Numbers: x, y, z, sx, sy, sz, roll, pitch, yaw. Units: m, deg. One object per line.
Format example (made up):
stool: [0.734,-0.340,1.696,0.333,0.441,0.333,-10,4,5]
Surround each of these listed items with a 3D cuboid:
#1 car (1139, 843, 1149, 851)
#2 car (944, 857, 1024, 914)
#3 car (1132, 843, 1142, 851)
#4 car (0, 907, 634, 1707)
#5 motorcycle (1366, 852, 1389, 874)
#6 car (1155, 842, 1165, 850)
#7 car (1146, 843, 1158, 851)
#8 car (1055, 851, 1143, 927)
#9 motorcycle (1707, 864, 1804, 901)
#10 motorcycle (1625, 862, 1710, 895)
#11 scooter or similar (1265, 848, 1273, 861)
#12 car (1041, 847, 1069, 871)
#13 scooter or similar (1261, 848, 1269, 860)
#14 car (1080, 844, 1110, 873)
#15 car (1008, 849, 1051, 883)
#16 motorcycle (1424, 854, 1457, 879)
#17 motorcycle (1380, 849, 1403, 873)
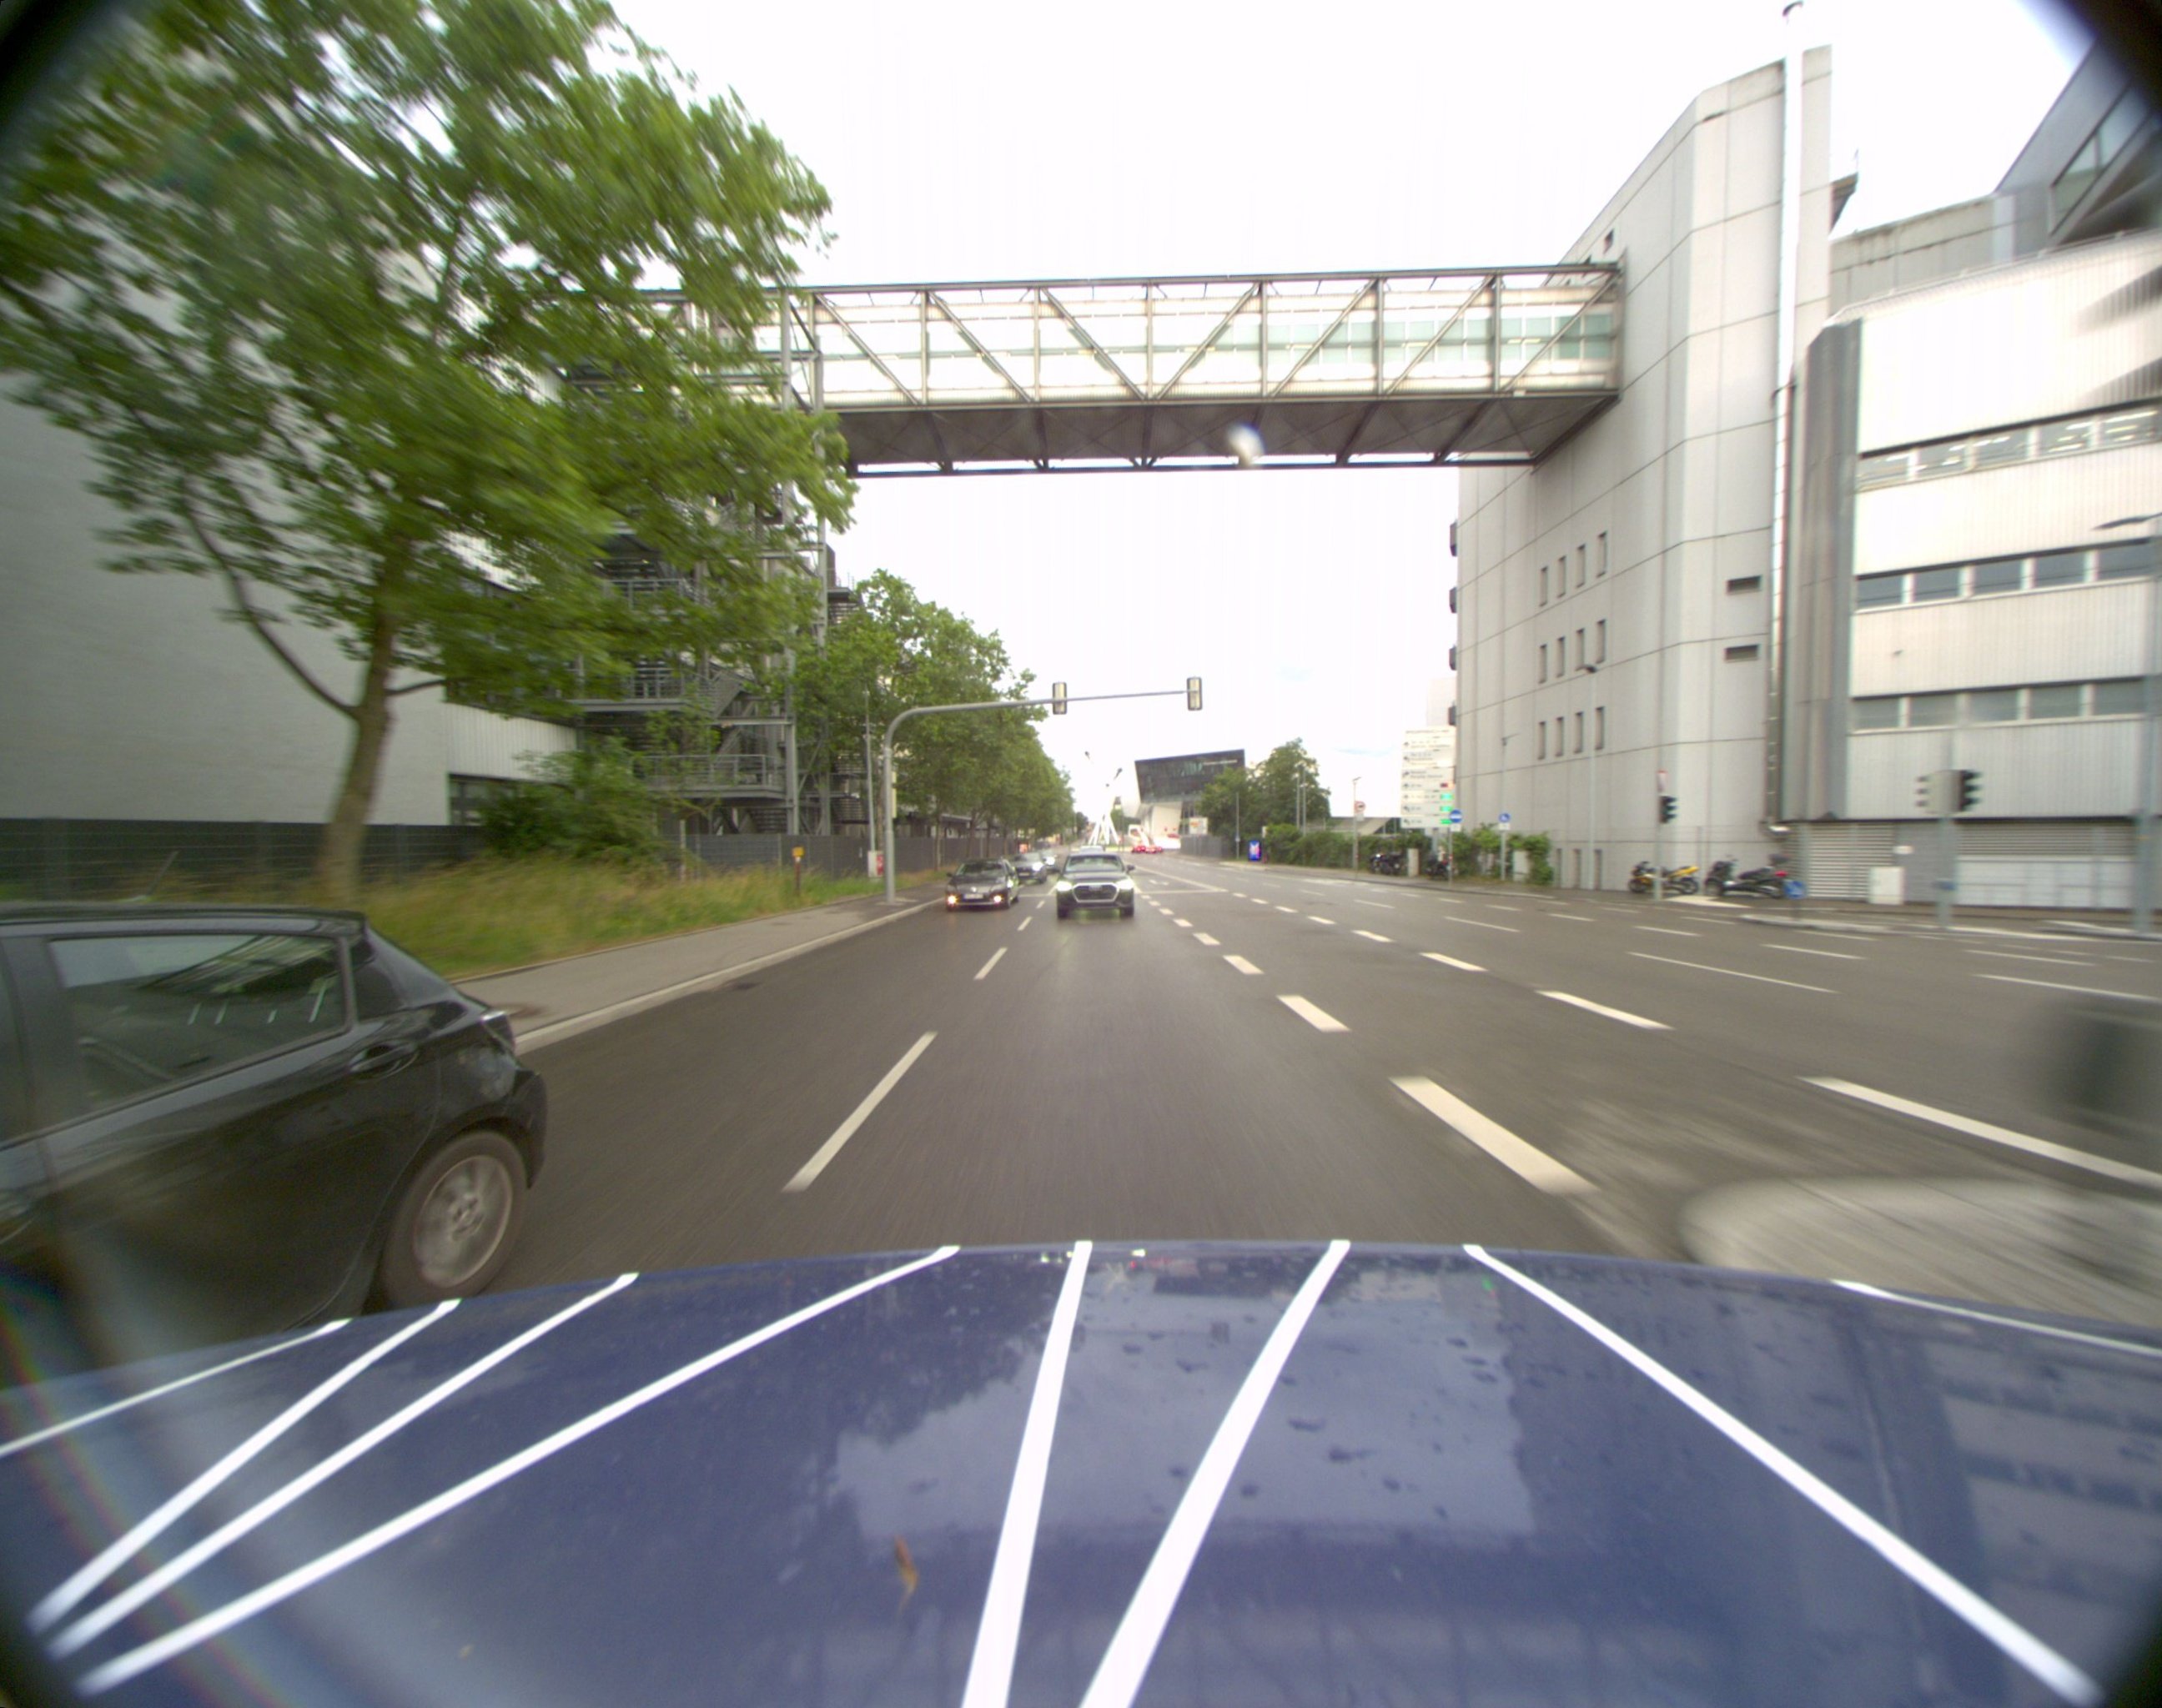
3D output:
car: [13.431,-1.562,162.547,1.776,1.580,4.485,1,1,2]
car: [-2.784,0.851,22.710,1.749,1.422,4.516,-1,1,0]
car: [11.484,-1.419,155.953,1.776,1.580,4.485,1,1,2]
car: [-3.028,1.033,1.274,1.749,1.461,4.640,-1,1,0]
motorcycle: [17.463,0.510,44.807,0.626,1.208,1.968,1,1,2]
car: [16.747,-1.680,161.358,1.776,1.580,4.485,1,1,2]
car: [14.385,-1.484,154.416,2.036,1.580,4.485,1,1,2]
car: [0.398,0.721,18.768,1.820,1.536,5.607,-1,1,0]
motorcycle: [20.940,0.862,23.639,0.627,1.021,2.166,0,1,-26]
motorcycle: [19.729,0.806,25.604,0.628,1.021,2.165,0,1,-34]
scooter or similar: [17.281,0.044,69.938,0.394,1.123,1.569,1,1,1]
car: [-1.785,0.338,53.458,1.820,1.571,4.331,-1,1,0]
scooter or similar: [17.283,0.021,71.543,0.394,1.123,1.569,1,1,1]
car: [0.998,0.272,54.190,2.035,1.920,4.331,-1,1,0]
car: [-2.564,0.564,38.729,1.825,1.581,4.331,-1,1,0]
motorcycle: [17.330,0.584,36.637,0.569,1.156,2.038,1,1,-1]
motorcycle: [17.200,0.358,42.124,0.626,1.260,2.171,-1,1,6]
